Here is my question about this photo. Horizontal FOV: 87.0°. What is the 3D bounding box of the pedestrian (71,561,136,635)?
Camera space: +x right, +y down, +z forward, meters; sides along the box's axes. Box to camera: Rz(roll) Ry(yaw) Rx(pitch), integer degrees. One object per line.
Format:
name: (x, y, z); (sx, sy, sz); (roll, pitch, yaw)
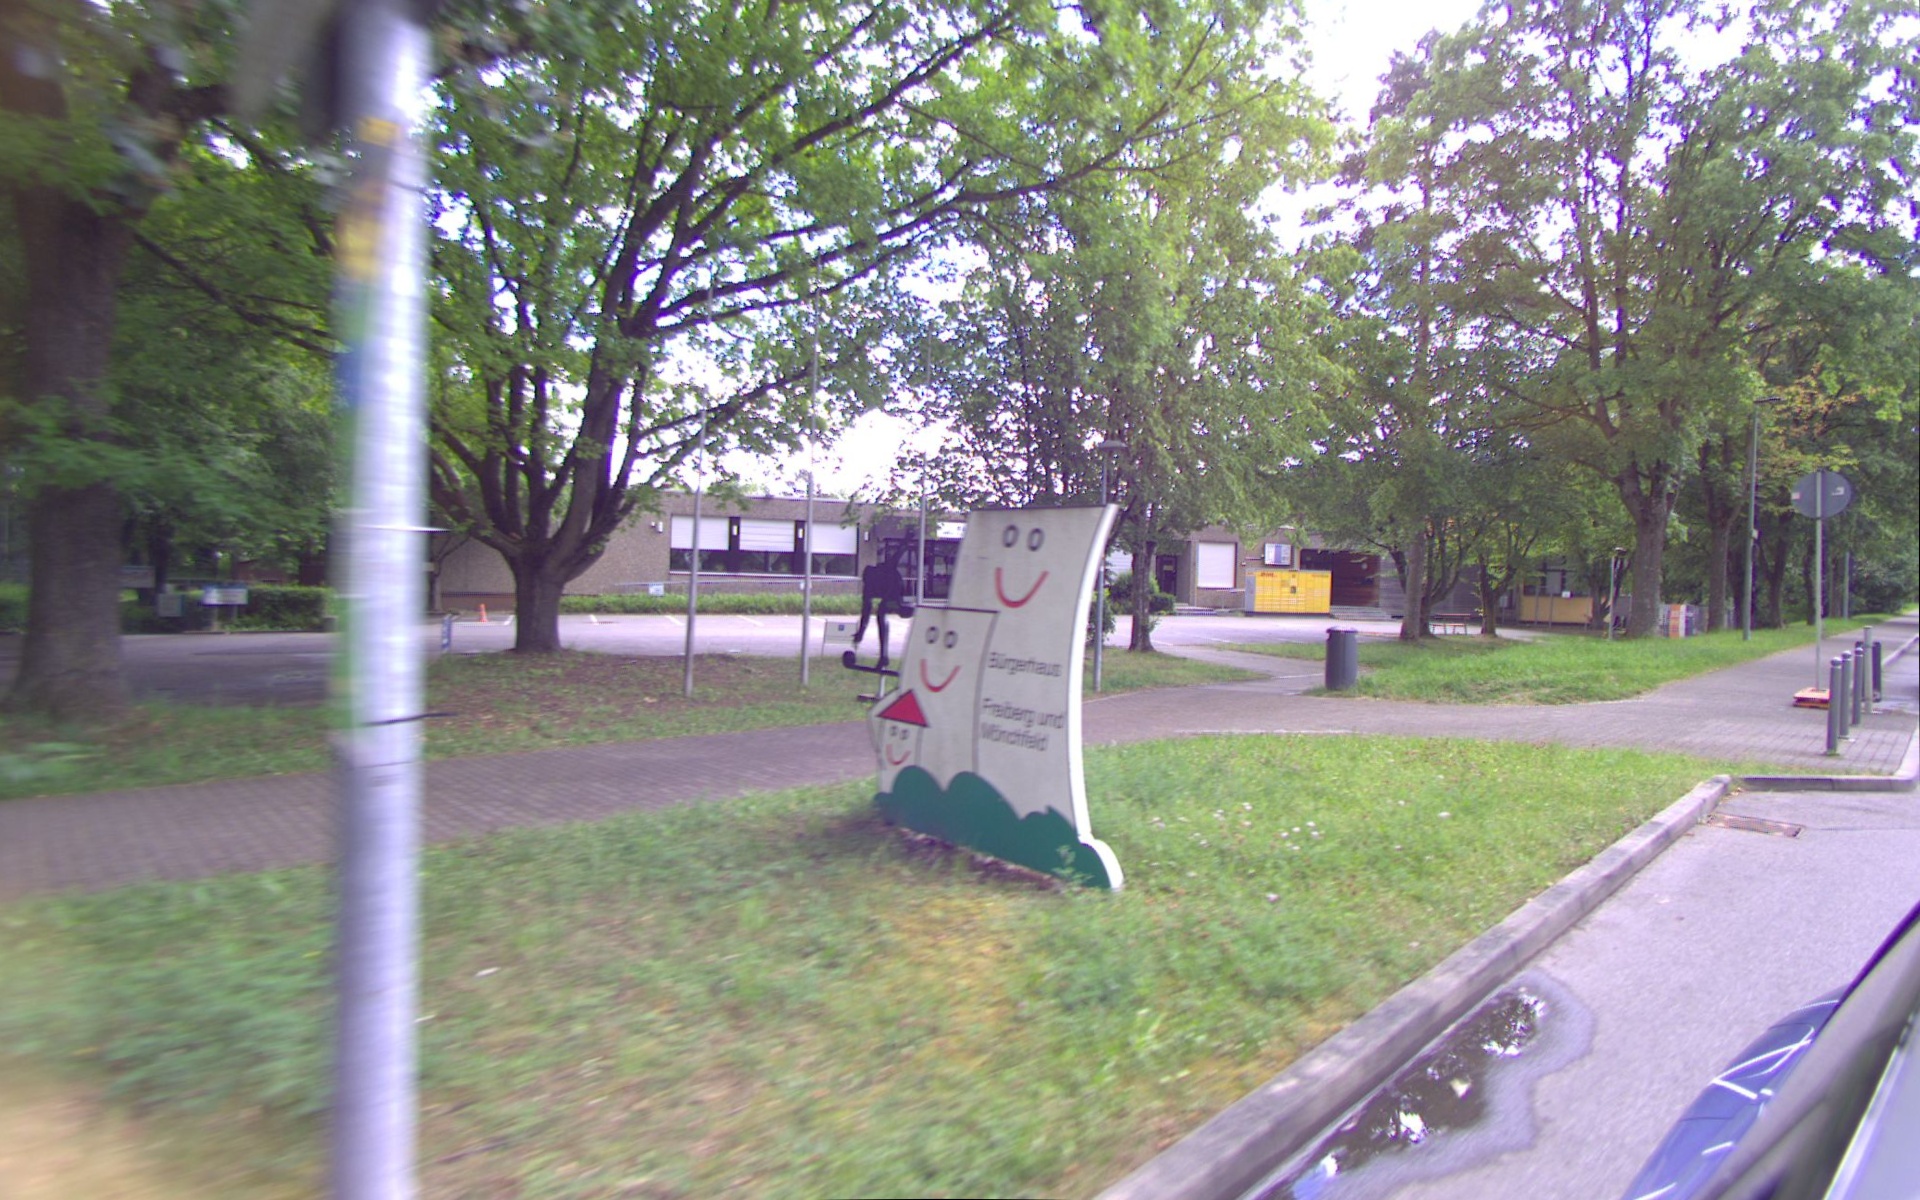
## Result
pedestrian: (-20.413, -0.066, 24.145); (0.777, 1.694, 1.154); (0, 3, -19)
